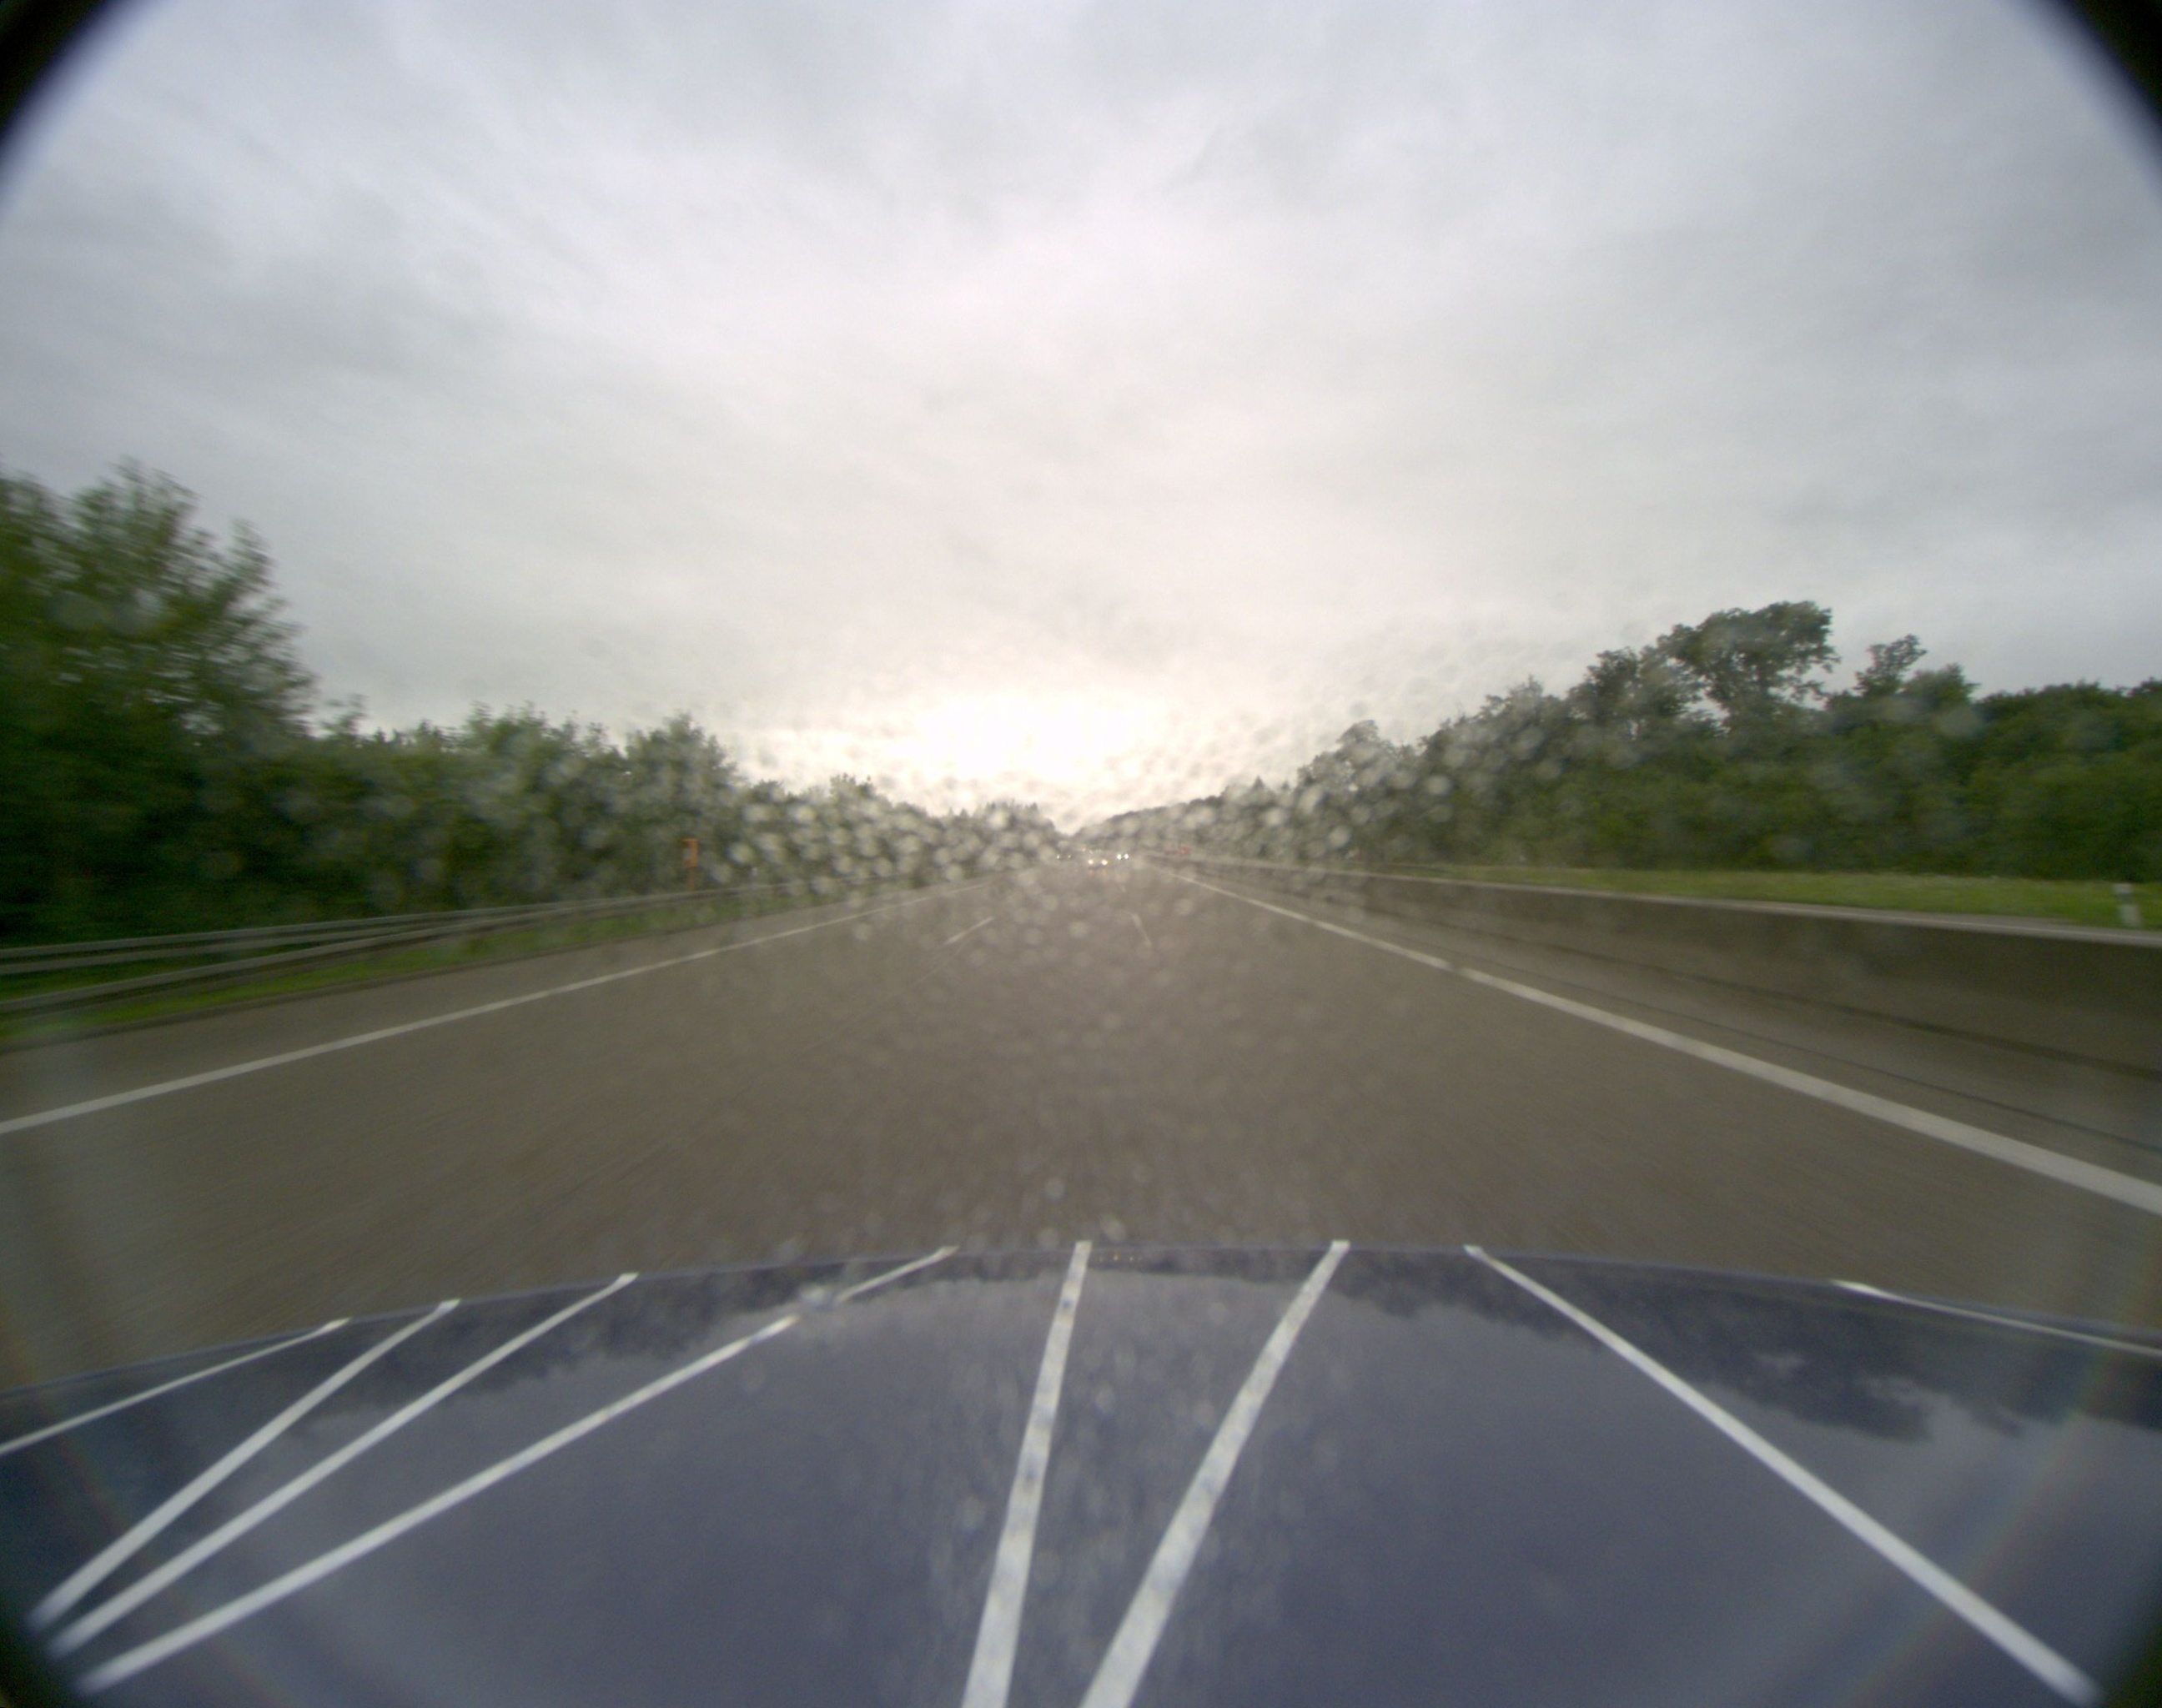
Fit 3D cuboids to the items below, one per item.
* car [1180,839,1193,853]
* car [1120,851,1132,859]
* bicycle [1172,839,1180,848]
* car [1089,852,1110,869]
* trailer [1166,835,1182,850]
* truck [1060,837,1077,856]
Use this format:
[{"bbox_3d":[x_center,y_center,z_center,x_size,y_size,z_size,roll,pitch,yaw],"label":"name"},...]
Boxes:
[{"bbox_3d":[24.341,-1.909,175.213,2.185,3.025,5.975,-1,1,2],"label":"car"},{"bbox_3d":[7.905,0.183,132.249,2.009,1.455,4.001,0,1,4],"label":"car"},{"bbox_3d":[26.290,-2.946,210.390,2.199,2.512,1.110,-2,2,2],"label":"bicycle"},{"bbox_3d":[1.802,0.615,72.396,1.932,1.521,4.299,0,-1,3],"label":"car"},{"bbox_3d":[26.461,-3.366,217.275,3.370,3.994,12.609,-1,1,2],"label":"trailer"},{"bbox_3d":[-2.571,-1.643,161.633,3.243,3.873,12.025,-1,1,1],"label":"truck"}]
